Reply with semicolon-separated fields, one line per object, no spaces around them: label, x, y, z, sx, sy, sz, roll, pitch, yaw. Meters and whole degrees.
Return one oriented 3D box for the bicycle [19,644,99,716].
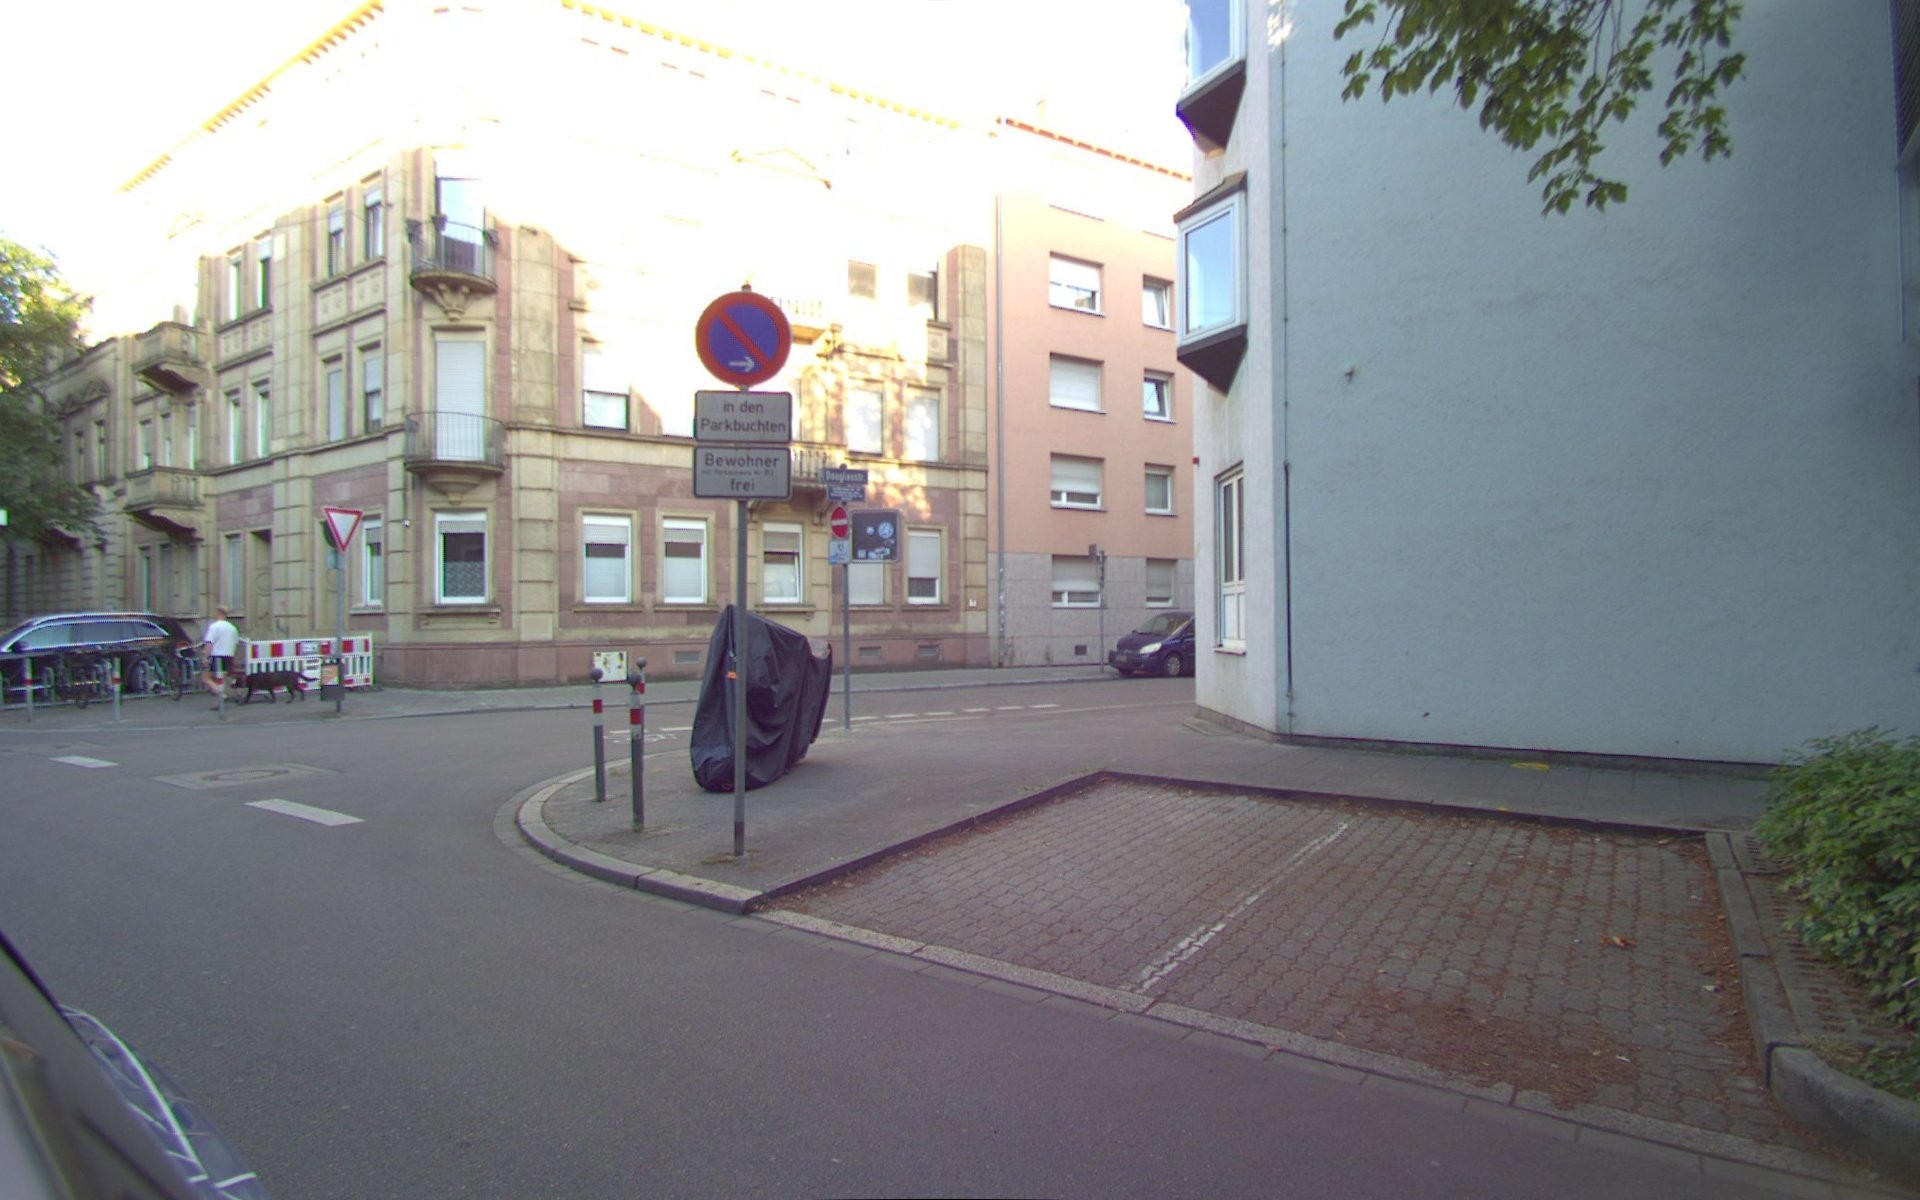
bicycle;-15.621;1.355;17.522;2.034;1.159;0.555;-1;-1;34

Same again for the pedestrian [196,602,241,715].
pedestrian;-12.364;0.956;16.872;0.564;1.821;0.652;0;-1;-39

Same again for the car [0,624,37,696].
car;-24.301;1.419;23.392;1.740;1.690;4.190;-1;-2;39

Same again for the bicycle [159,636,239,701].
bicycle;-14.442;1.273;19.183;2.033;1.159;0.556;-1;-1;33

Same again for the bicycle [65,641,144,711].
bicycle;-15.268;1.332;18.052;2.034;1.159;0.555;-1;-1;34

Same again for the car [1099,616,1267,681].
car;5.742;1.171;25.849;4.297;1.529;1.789;1;-2;-36

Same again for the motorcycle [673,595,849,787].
motorcycle;-1.723;0.747;9.199;0.809;1.516;2.276;-1;-1;10

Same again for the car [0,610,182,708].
car;-17.905;1.107;19.469;1.740;1.795;4.368;-1;-2;38

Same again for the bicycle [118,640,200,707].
bicycle;-14.796;1.334;18.680;2.033;1.159;0.556;-1;-1;33
